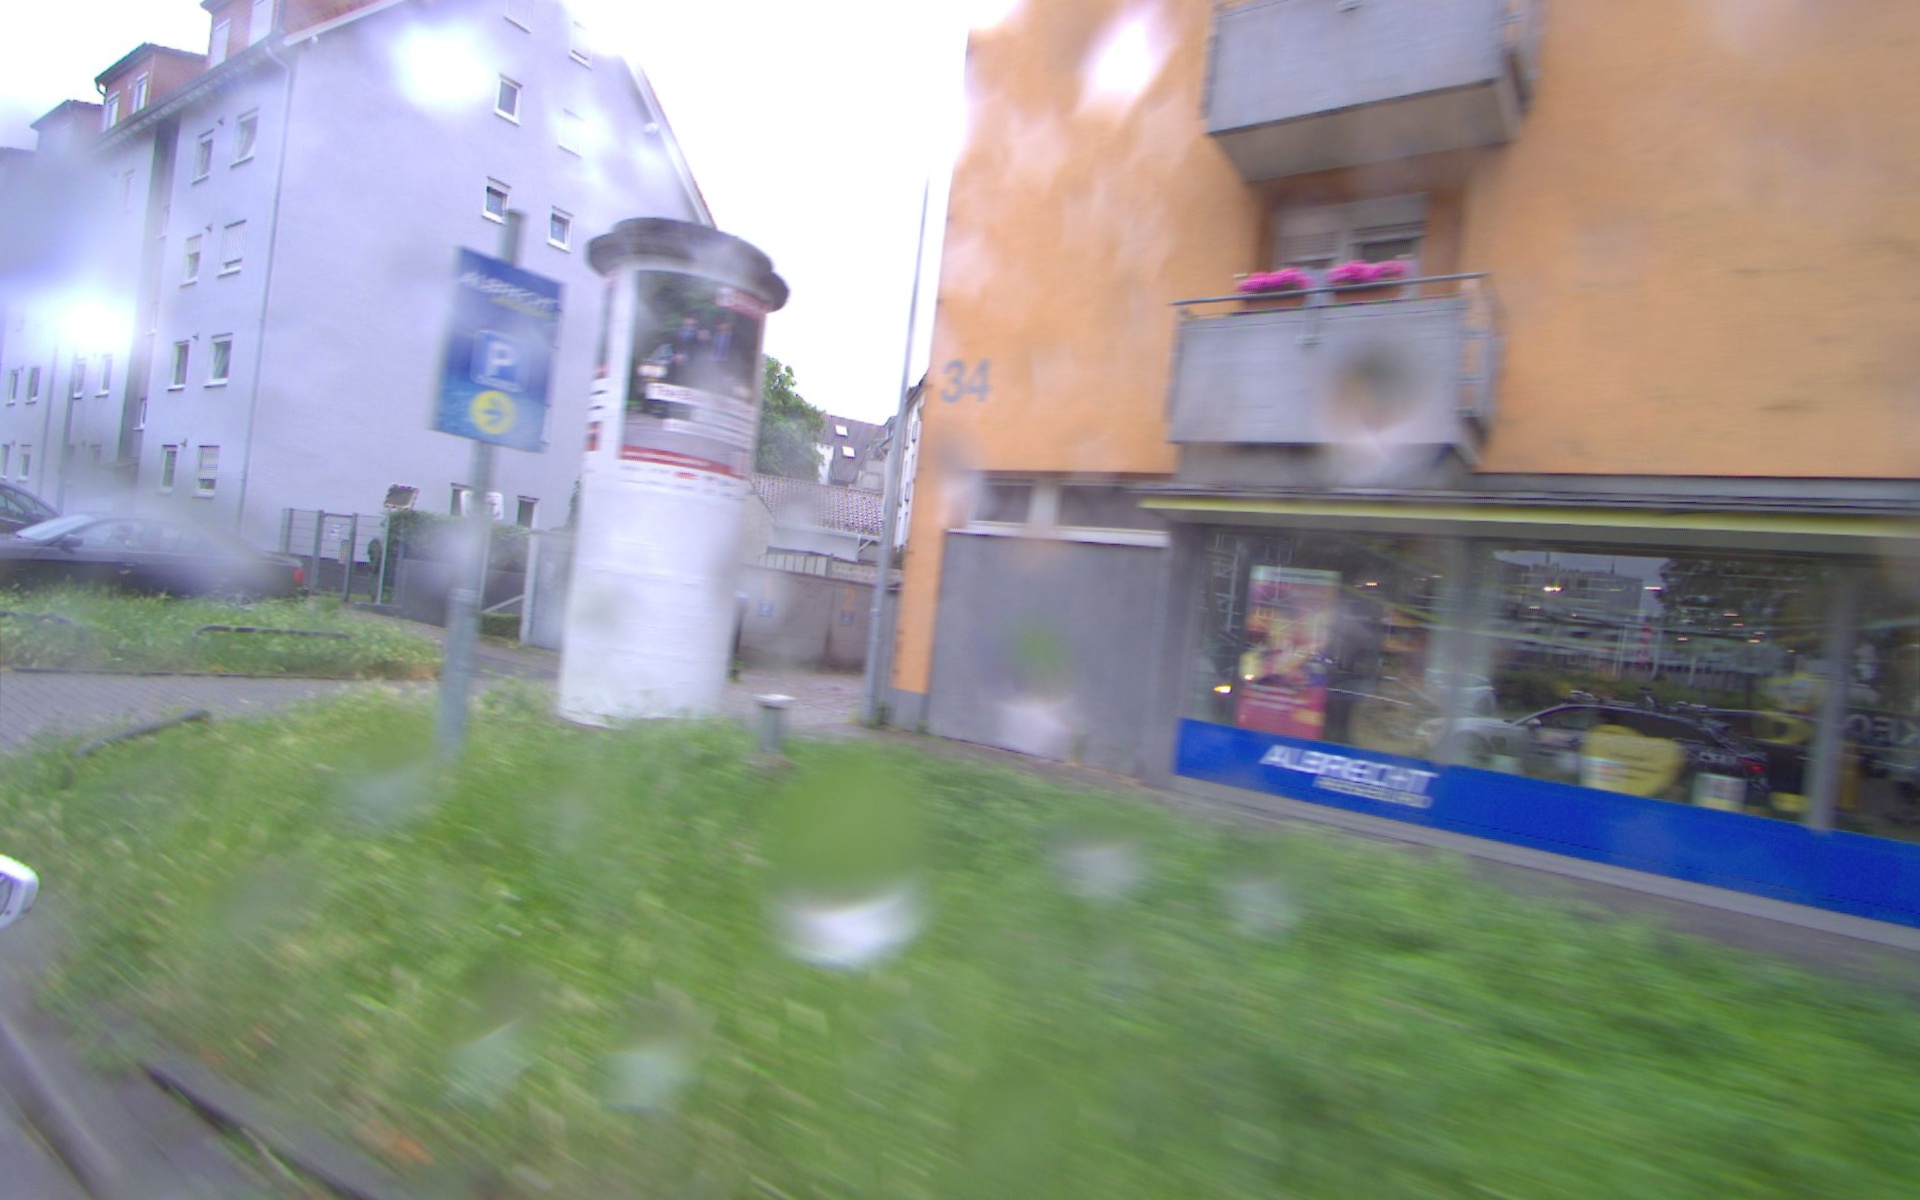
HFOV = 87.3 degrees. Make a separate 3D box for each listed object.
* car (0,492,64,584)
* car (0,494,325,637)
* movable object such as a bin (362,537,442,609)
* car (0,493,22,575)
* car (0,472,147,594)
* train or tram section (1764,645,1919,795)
[{"bbox_3d":[-18.844,-1.350,17.685,1.858,1.587,4.194,6,-1,33],"label":"car"},{"bbox_3d":[-11.258,-0.472,13.146,1.952,1.488,4.535,6,-1,35],"label":"car"},{"bbox_3d":[-12.309,-0.581,22.200,0.811,1.394,1.233,7,0,42],"label":"movable object such as a bin"},{"bbox_3d":[-20.961,-1.594,19.125,1.860,1.590,4.186,6,-2,34],"label":"car"},{"bbox_3d":[-16.494,-1.253,16.652,1.913,1.827,4.236,6,0,32],"label":"car"},{"bbox_3d":[24.161,3.071,22.620,2.602,3.390,9.971,7,-1,-10],"label":"train or tram section"}]
